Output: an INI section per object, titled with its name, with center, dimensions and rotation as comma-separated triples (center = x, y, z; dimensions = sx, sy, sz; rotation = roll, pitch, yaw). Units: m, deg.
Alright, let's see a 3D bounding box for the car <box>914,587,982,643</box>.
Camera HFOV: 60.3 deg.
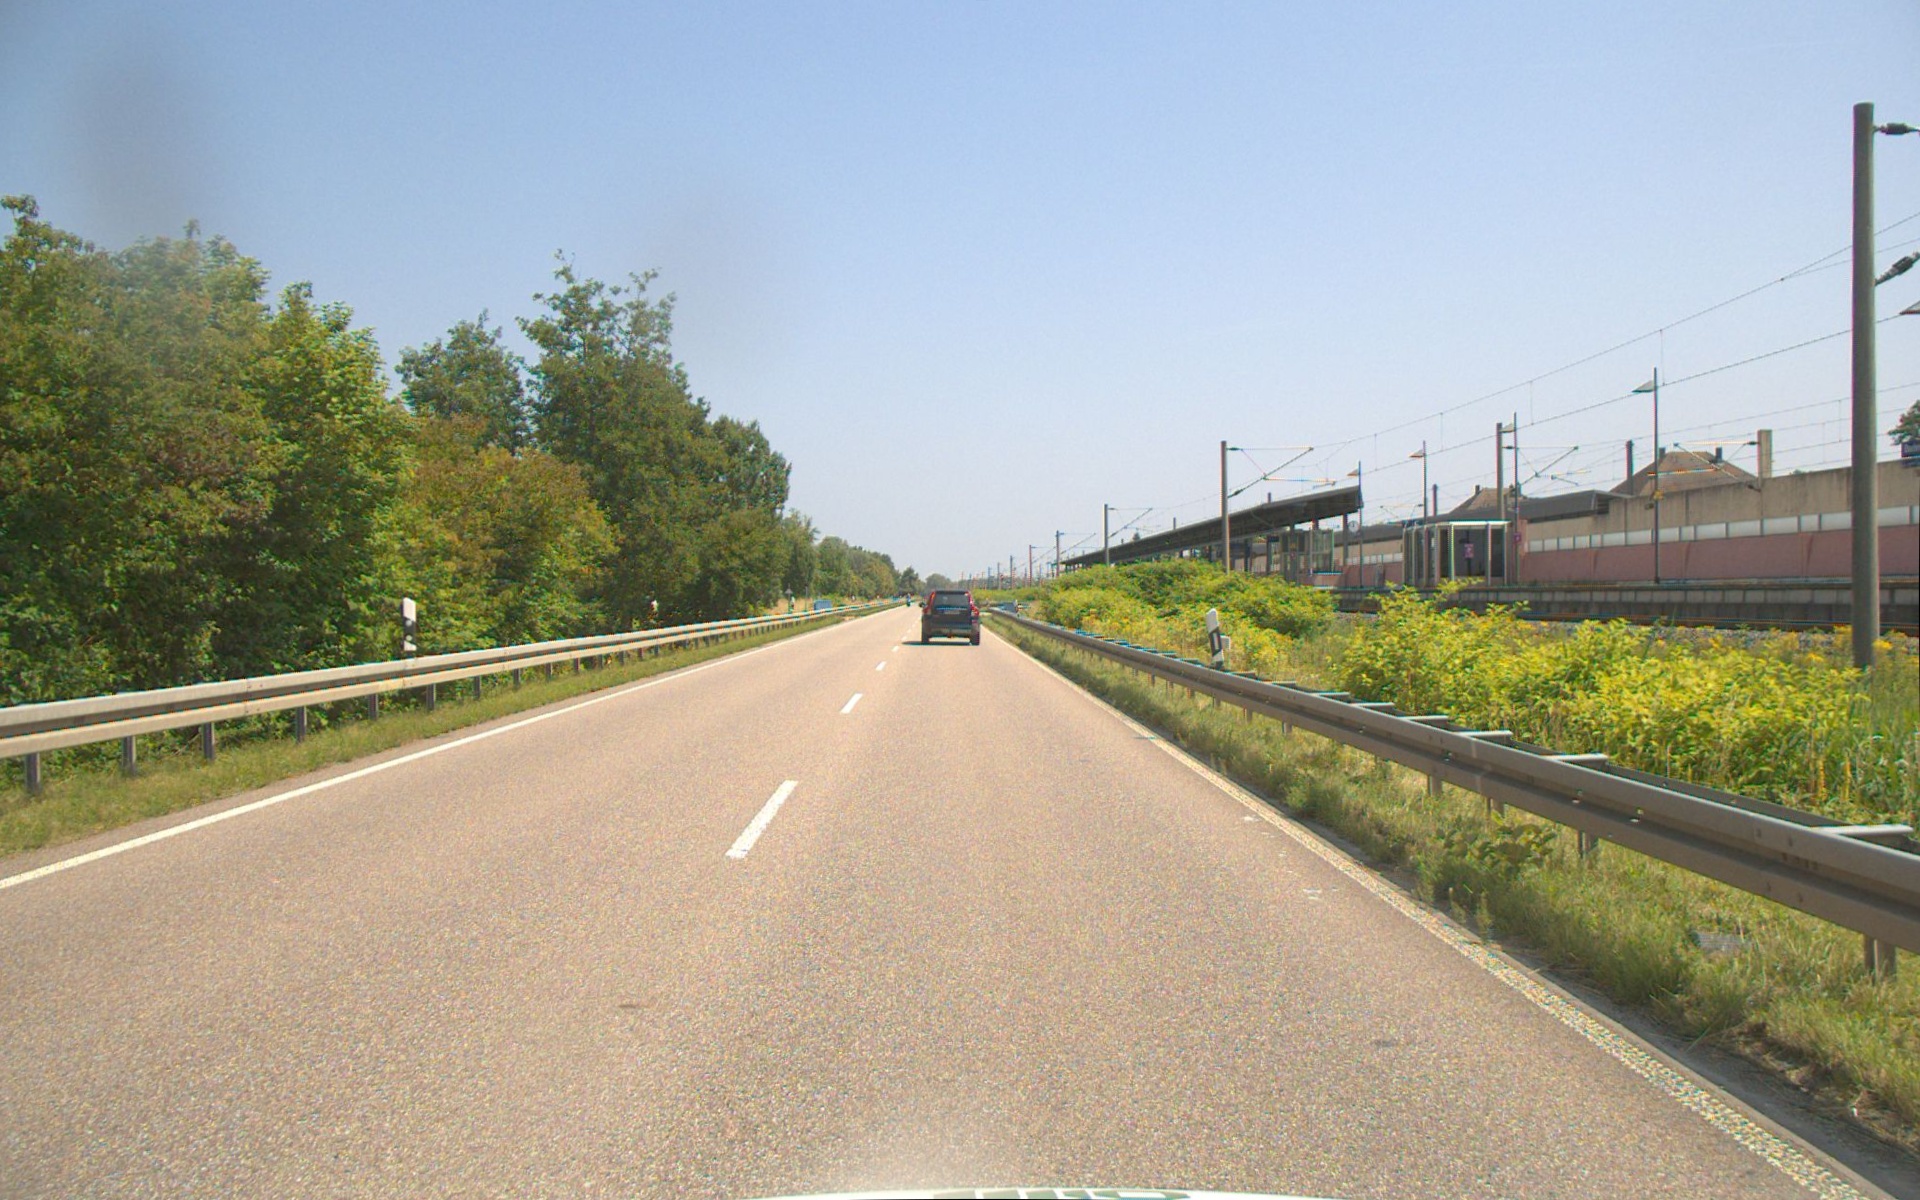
[car]
center = -0.423, 0.462, 52.734
dimensions = 1.954, 1.730, 3.997
rotation = 0, 0, -3
